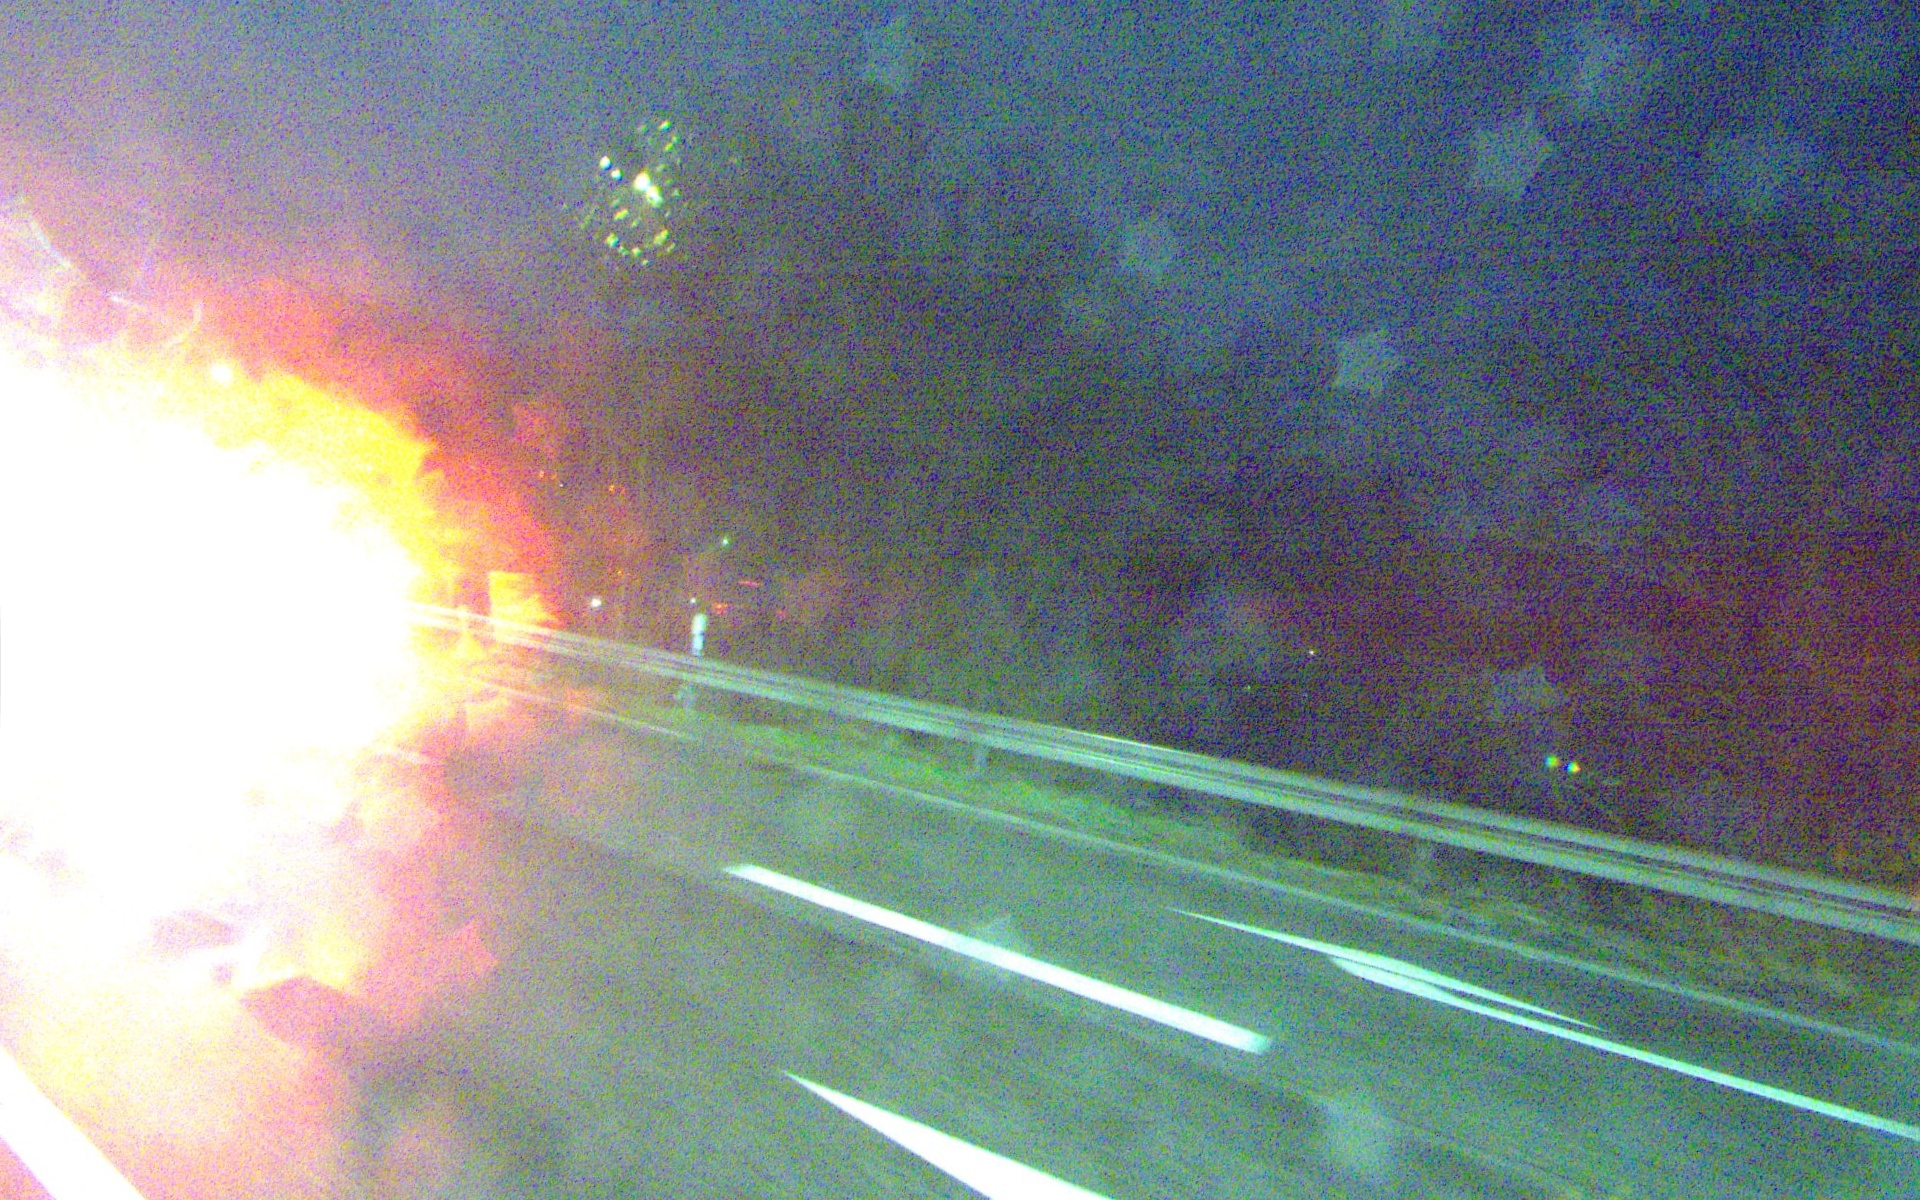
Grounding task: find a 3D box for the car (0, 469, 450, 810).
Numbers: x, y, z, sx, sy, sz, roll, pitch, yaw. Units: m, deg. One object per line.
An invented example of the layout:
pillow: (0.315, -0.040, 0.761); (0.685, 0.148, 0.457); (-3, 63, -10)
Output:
car: (-5.322, 0.122, 6.474); (3.713, 1.582, 1.744); (7, -3, 30)
